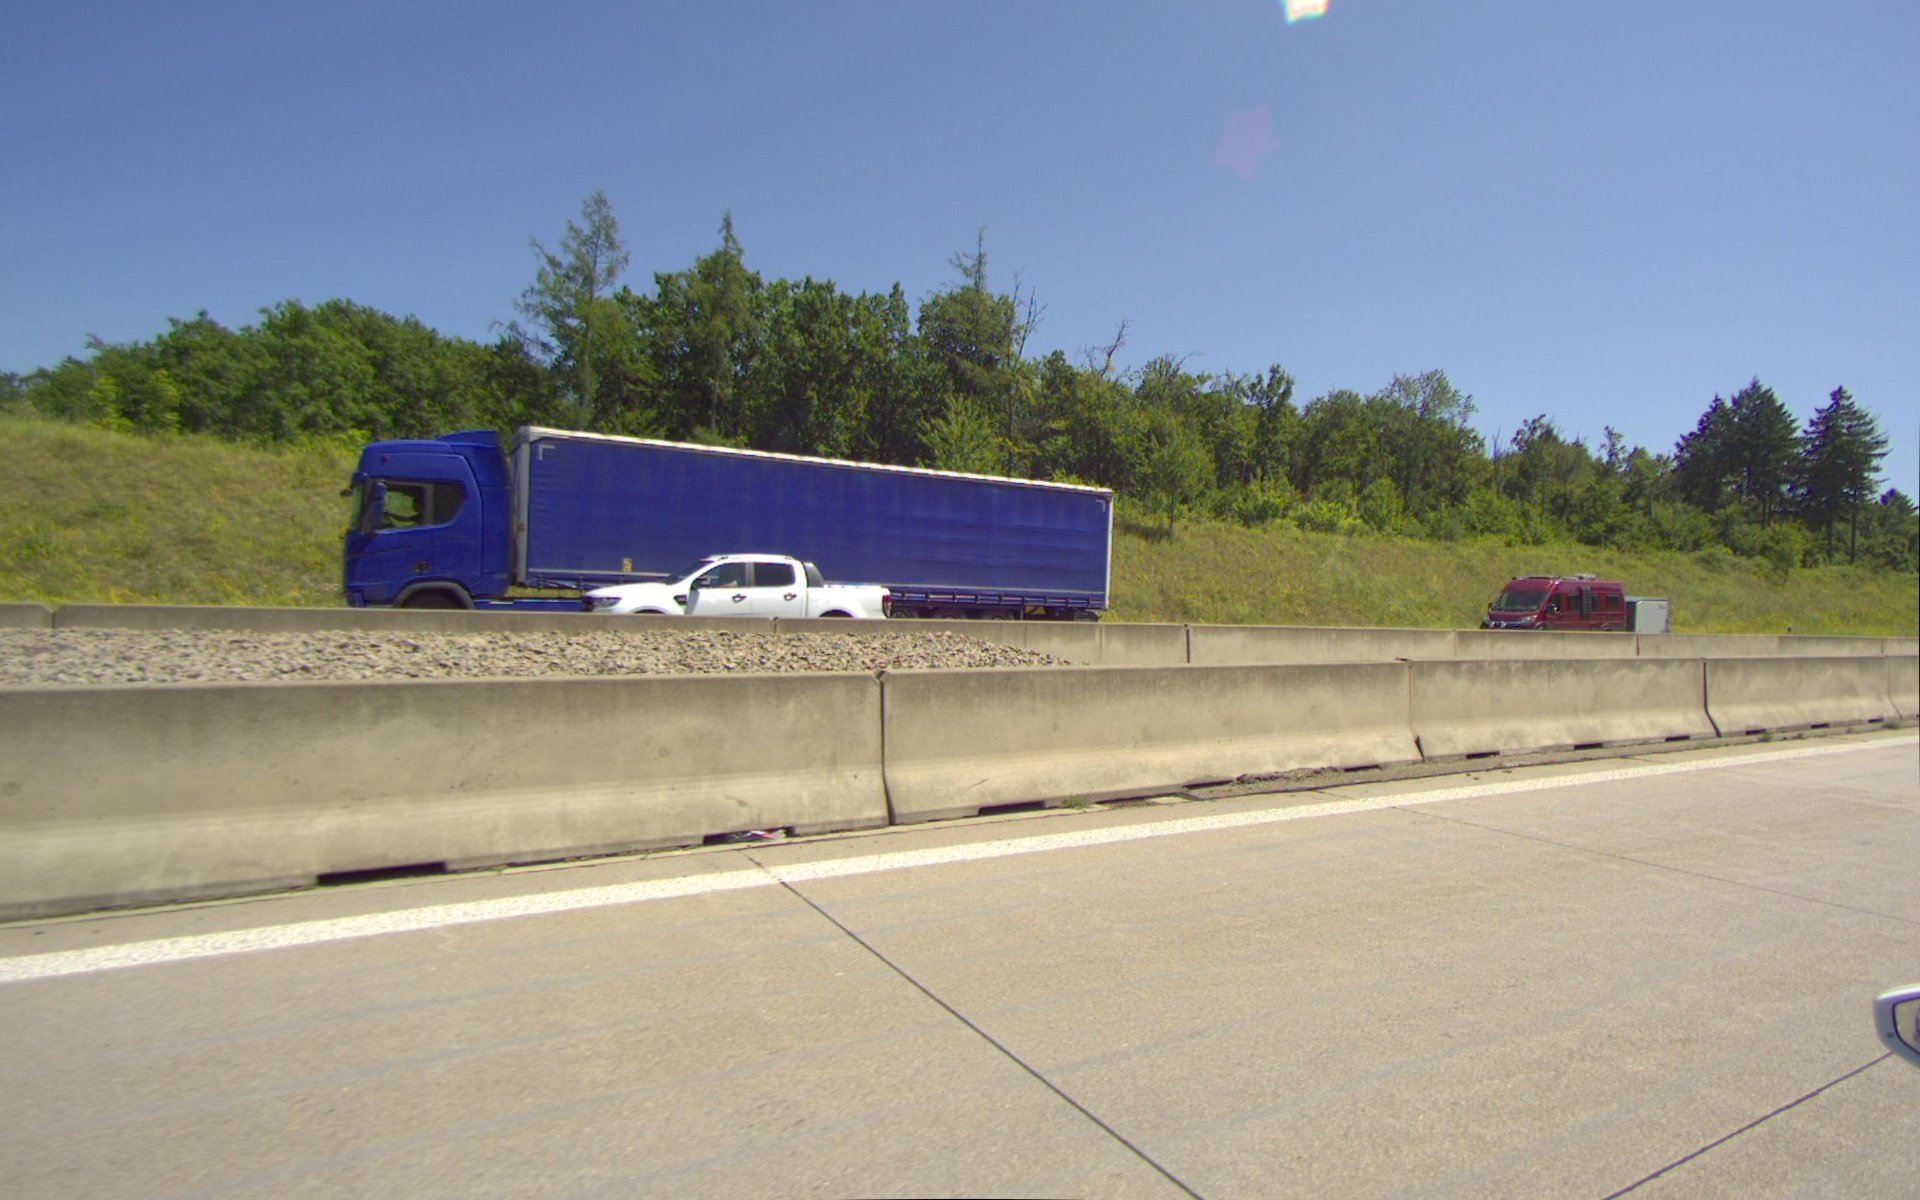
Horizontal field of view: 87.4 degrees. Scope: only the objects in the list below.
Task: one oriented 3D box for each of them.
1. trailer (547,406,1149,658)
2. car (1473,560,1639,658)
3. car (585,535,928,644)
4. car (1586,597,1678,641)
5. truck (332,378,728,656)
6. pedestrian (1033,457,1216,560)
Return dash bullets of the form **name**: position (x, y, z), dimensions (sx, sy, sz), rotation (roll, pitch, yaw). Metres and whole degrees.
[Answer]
- **trailer**: position (-1.998, -1.060, 23.216), dimensions (13.576, 4.564, 3.241), rotation (2, 0, -30)
- **car**: position (21.628, 0.374, 36.318), dimensions (6.978, 3.284, 1.984), rotation (2, 0, -31)
- **car**: position (-3.433, -0.108, 17.360), dimensions (5.453, 1.604, 1.984), rotation (2, 0, -30)
- **car**: position (26.263, 0.774, 39.228), dimensions (3.535, 1.621, 1.606), rotation (2, -2, -30)
- **truck**: position (-8.243, -1.299, 19.602), dimensions (6.497, 4.564, 3.241), rotation (2, 0, -30)
- **pedestrian**: position (3.969, -2.106, 24.174), dimensions (3.953, 2.040, 1.984), rotation (2, 0, -30)
